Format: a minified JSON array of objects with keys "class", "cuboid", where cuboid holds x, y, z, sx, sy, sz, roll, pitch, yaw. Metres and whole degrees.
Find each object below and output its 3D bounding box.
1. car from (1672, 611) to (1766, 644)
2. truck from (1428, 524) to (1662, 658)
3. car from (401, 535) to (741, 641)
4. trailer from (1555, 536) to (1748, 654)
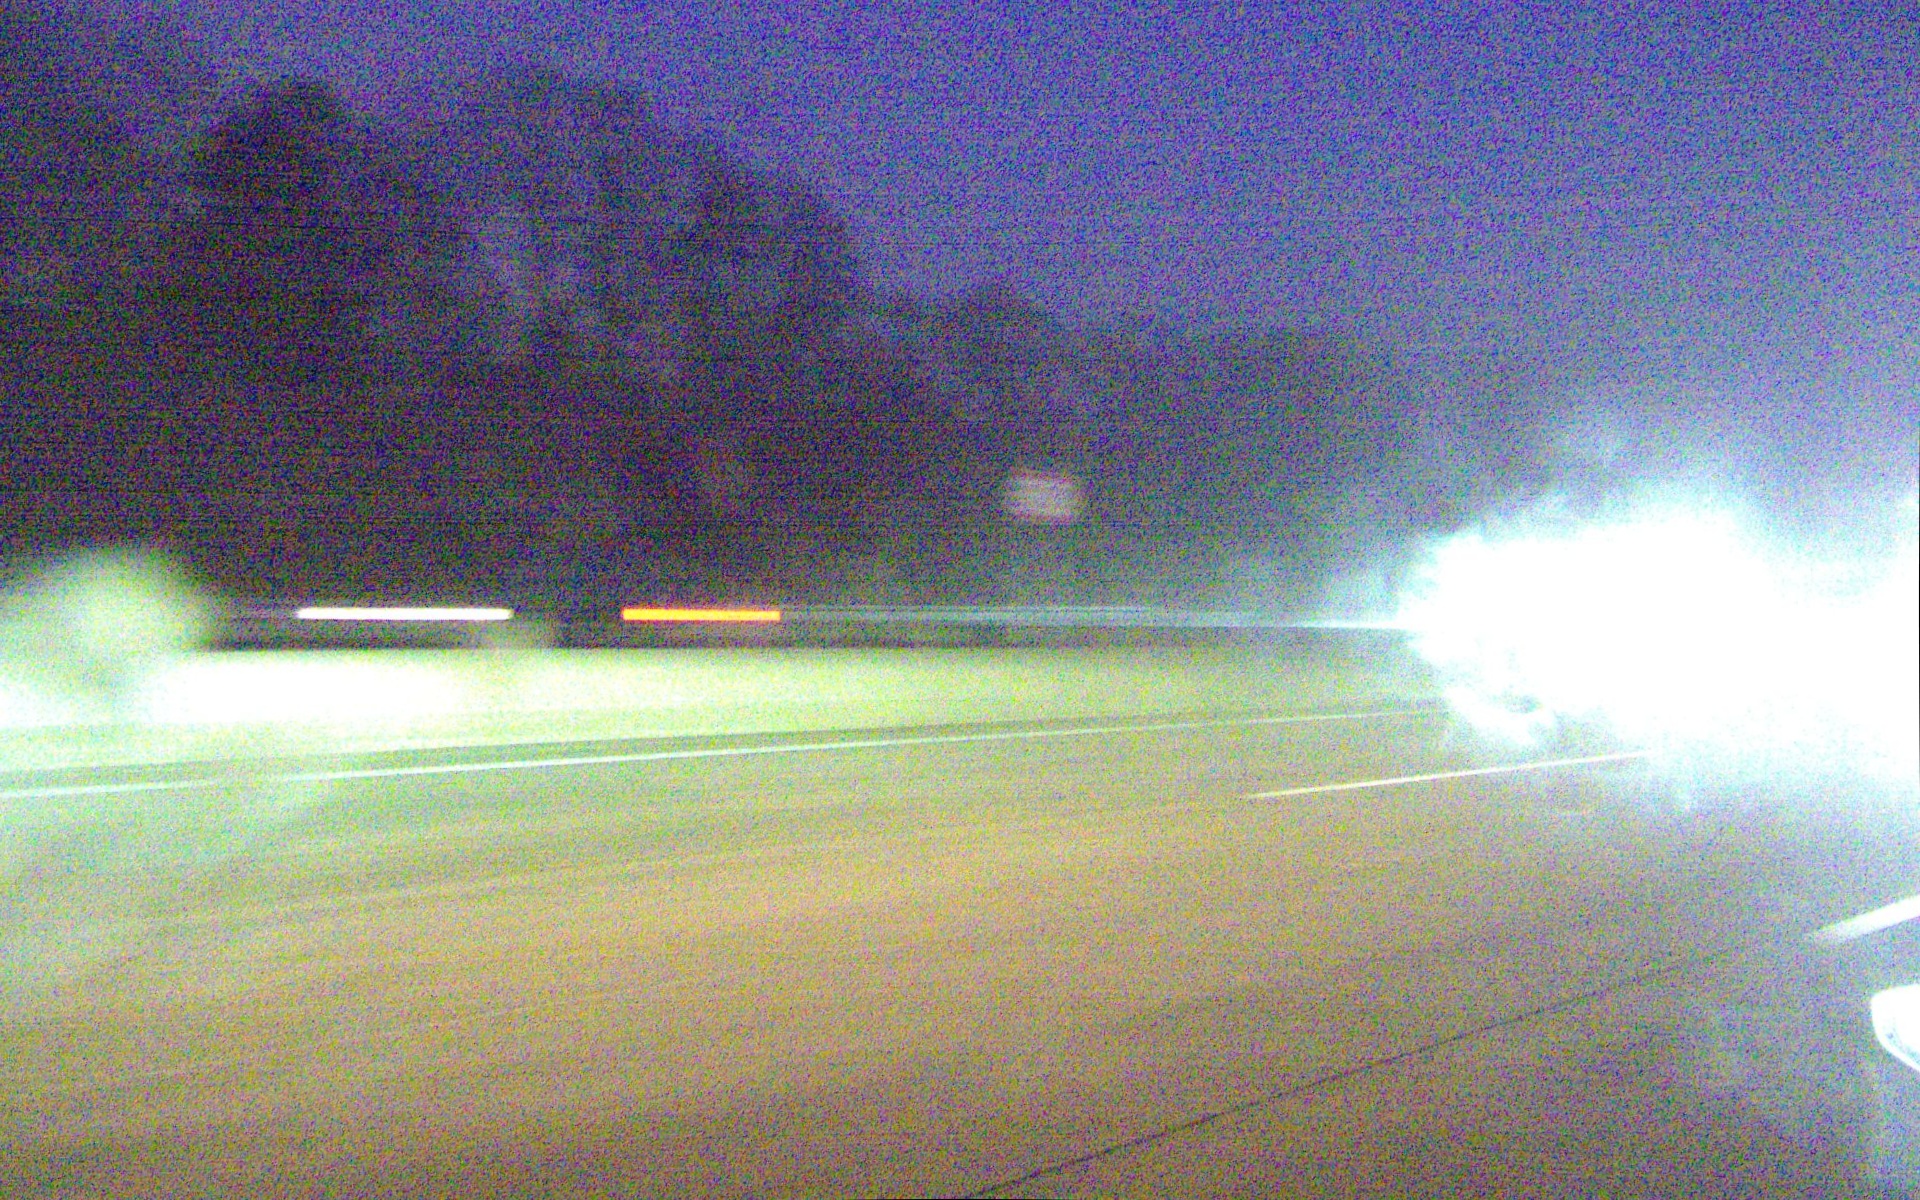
[{"class":"car","cuboid":[32.132,1.184,42.508,4.225,1.237,1.697,2,2,-32]},{"class":"truck","cuboid":[26.013,-0.399,44.501,10.356,5.211,4.315,1,5,-32]},{"class":"car","cuboid":[-6.259,-0.163,16.377,4.958,1.500,1.698,2,2,-30]},{"class":"trailer","cuboid":[34.231,-0.252,49.682,8.896,5.211,4.315,1,5,-32]}]
